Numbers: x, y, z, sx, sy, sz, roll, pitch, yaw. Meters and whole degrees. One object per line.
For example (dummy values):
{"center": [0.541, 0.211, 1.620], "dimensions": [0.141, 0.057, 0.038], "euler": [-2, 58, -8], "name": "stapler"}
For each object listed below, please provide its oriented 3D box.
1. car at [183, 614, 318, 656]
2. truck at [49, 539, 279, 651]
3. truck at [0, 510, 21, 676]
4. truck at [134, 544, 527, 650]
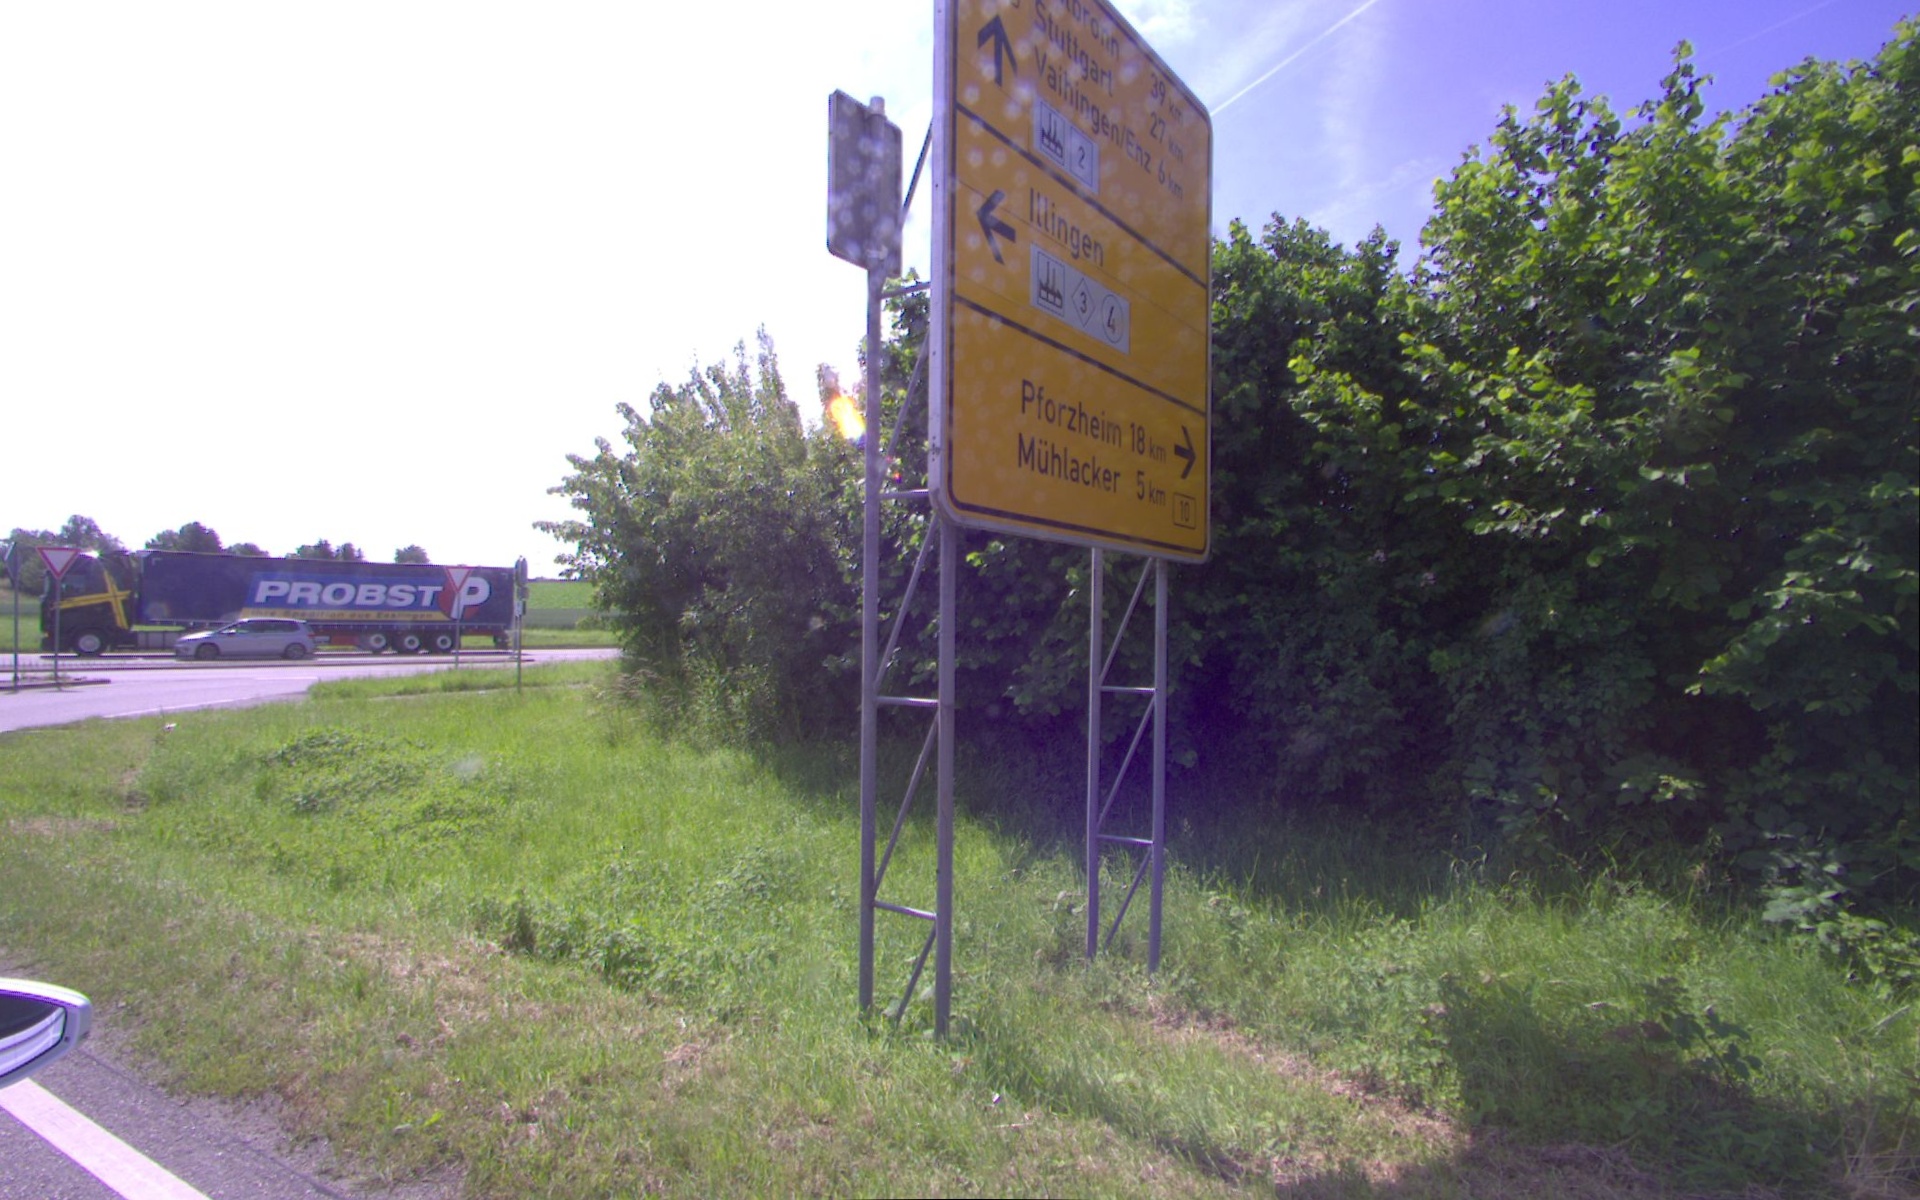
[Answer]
{"center": [-26.508, 1.302, 37.473], "dimensions": [3.968, 1.510, 1.523], "euler": [2, -2, -43], "name": "car"}
{"center": [-31.428, -0.075, 39.759], "dimensions": [6.881, 4.046, 3.000], "euler": [2, -1, -42], "name": "truck"}
{"center": [-26.598, -0.249, 23.972], "dimensions": [2.767, 4.114, 5.796], "euler": [1, -1, 43], "name": "truck"}
{"center": [-26.770, 0.098, 43.667], "dimensions": [14.172, 4.031, 3.002], "euler": [2, -1, -40], "name": "truck"}
